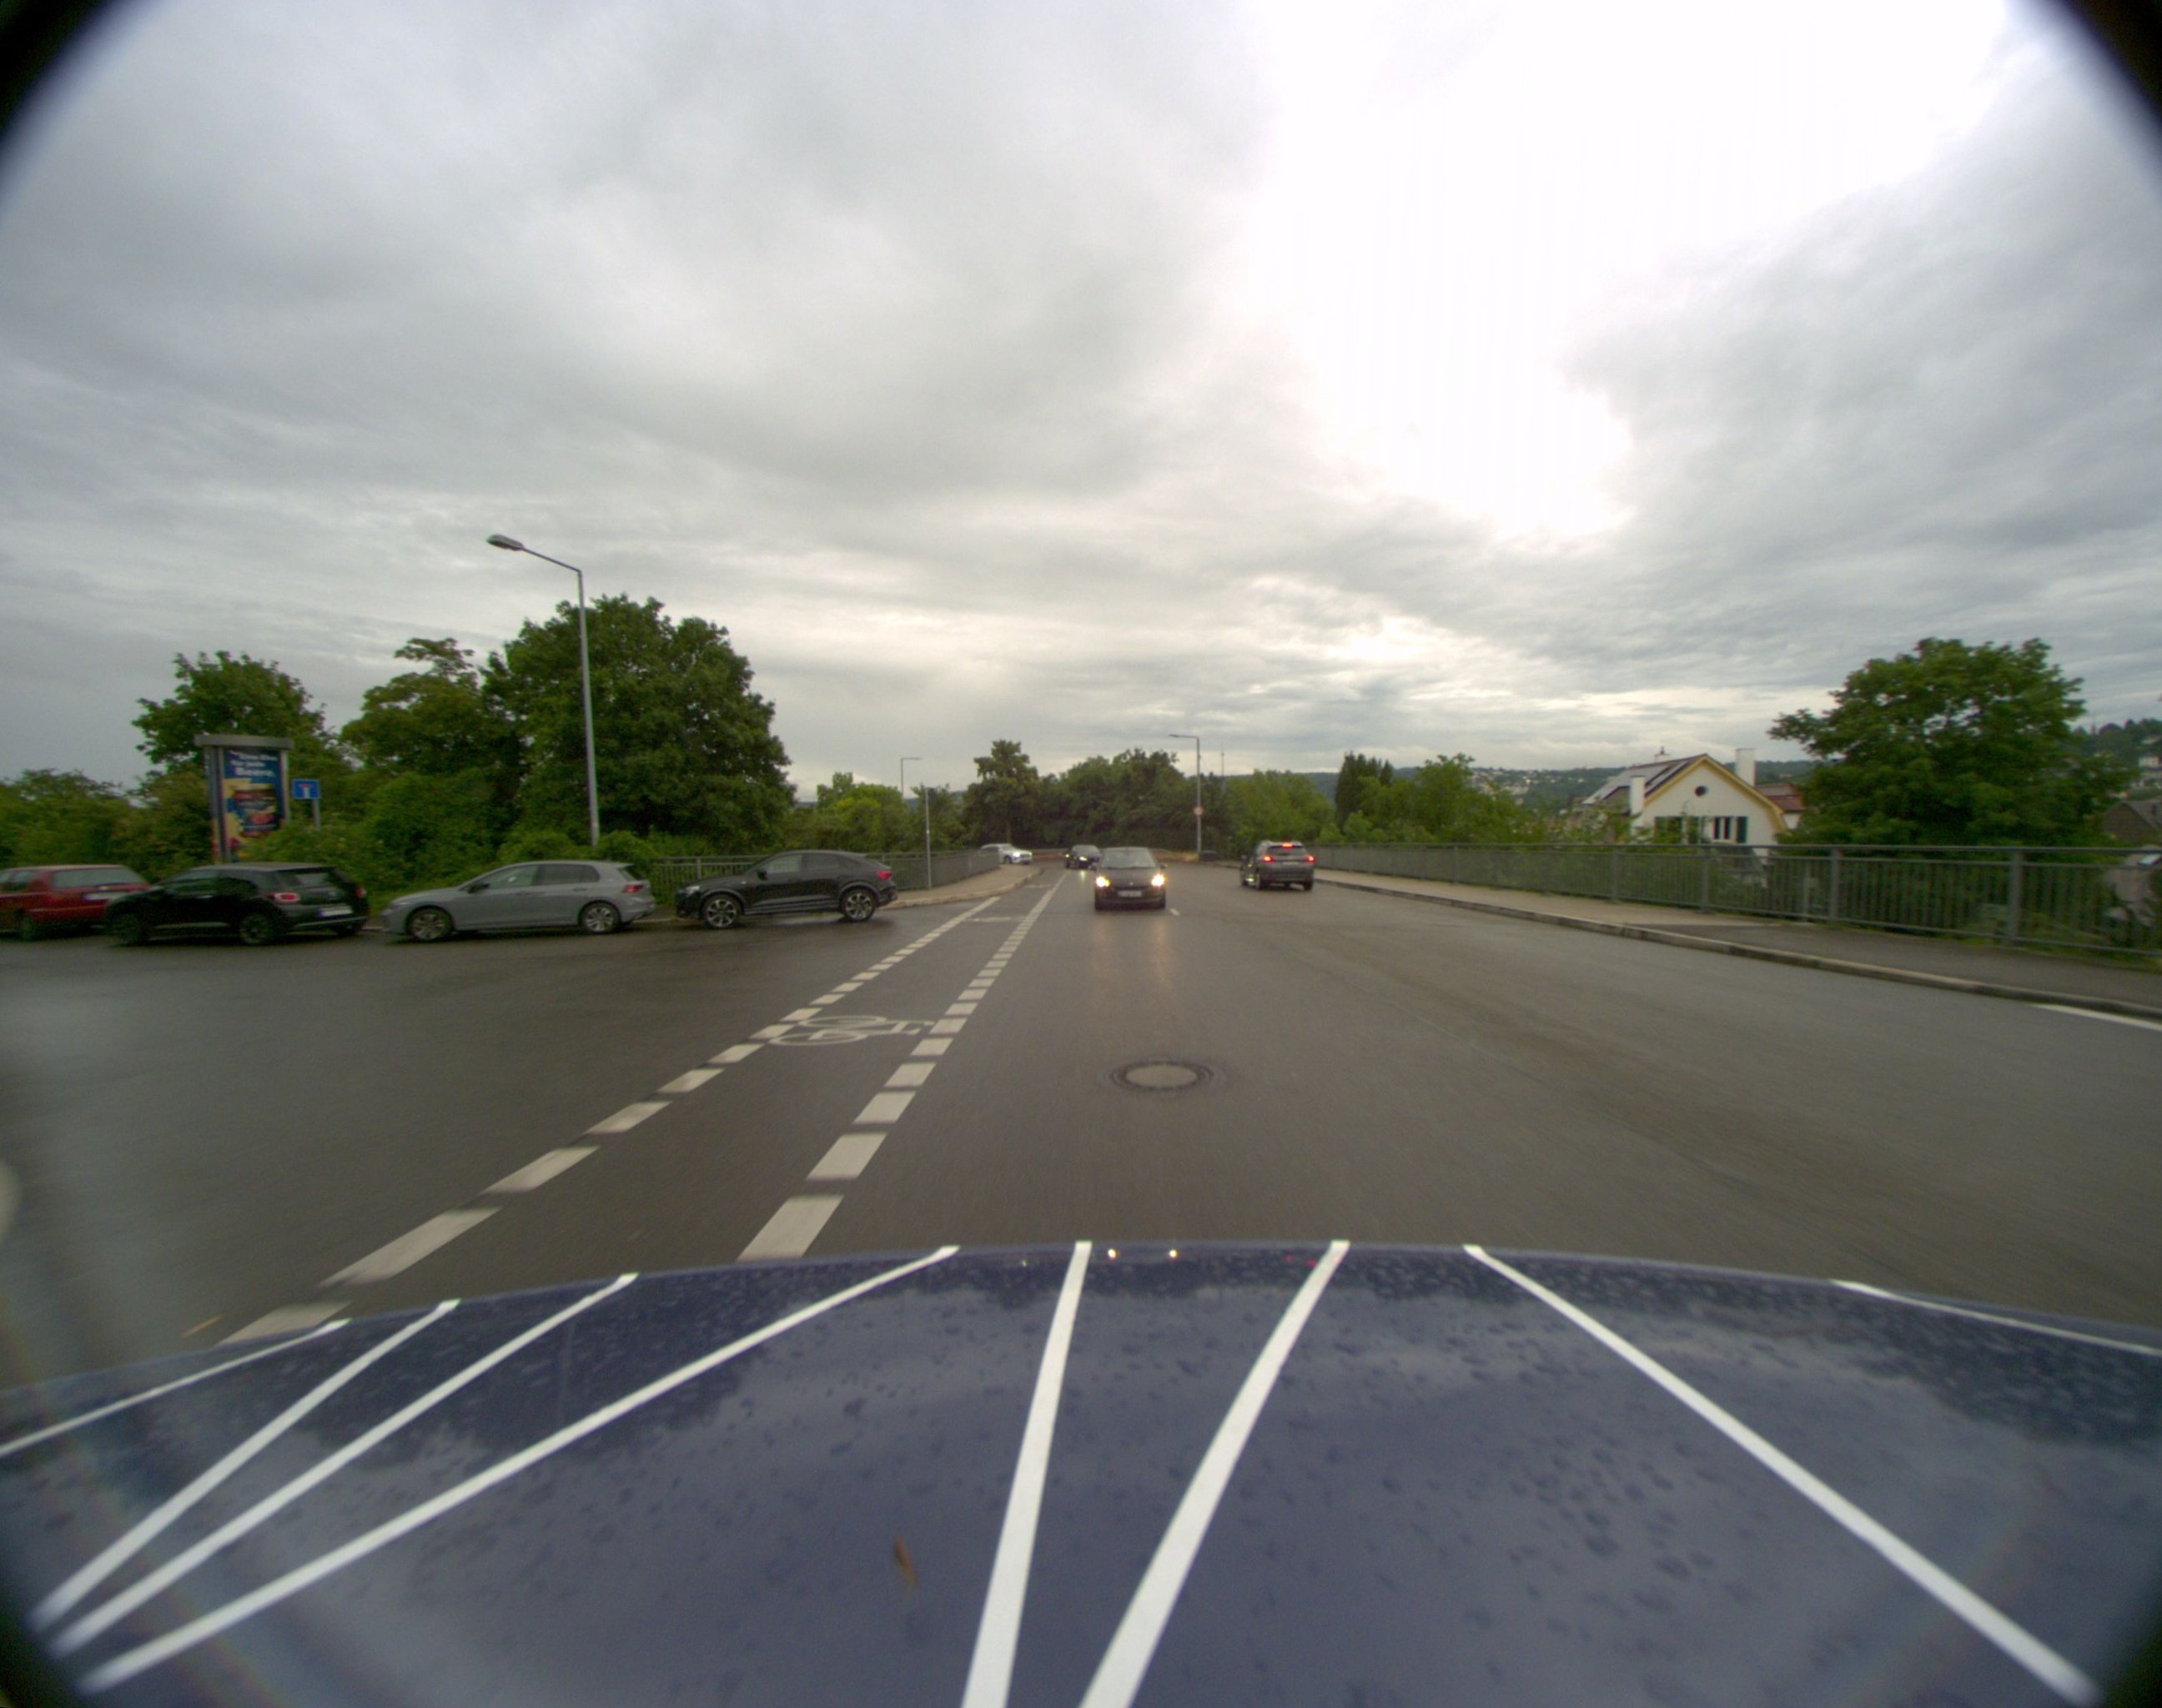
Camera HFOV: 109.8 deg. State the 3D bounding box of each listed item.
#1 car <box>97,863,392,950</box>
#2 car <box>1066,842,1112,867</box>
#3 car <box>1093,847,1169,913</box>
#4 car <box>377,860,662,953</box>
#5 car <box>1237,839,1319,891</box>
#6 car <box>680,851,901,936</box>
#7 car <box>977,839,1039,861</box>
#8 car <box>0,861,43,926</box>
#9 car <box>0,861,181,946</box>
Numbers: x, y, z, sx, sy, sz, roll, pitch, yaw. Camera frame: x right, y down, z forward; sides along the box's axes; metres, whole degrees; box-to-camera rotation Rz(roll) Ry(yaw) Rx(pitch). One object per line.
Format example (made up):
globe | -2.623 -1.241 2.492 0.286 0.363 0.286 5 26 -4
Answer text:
car | -15.575 0.943 14.291 3.598 1.480 1.841 0 1 4
car | 0.423 0.002 46.850 1.768 1.445 4.394 -1 0 -14
car | 1.163 0.565 18.884 1.680 1.405 3.636 -1 2 1
car | -10.646 0.926 14.805 4.060 1.417 1.797 -2 3 -20
car | 6.383 0.300 25.045 1.738 1.537 3.999 0 2 1
car | -6.242 0.770 16.517 4.207 1.514 1.996 -2 1 -24
car | -5.483 -0.302 56.621 4.579 1.566 1.894 0 2 40
car | -26.883 0.948 17.897 3.594 1.481 1.765 0 3 18
car | -20.756 0.932 15.522 3.594 1.481 1.765 0 3 18
